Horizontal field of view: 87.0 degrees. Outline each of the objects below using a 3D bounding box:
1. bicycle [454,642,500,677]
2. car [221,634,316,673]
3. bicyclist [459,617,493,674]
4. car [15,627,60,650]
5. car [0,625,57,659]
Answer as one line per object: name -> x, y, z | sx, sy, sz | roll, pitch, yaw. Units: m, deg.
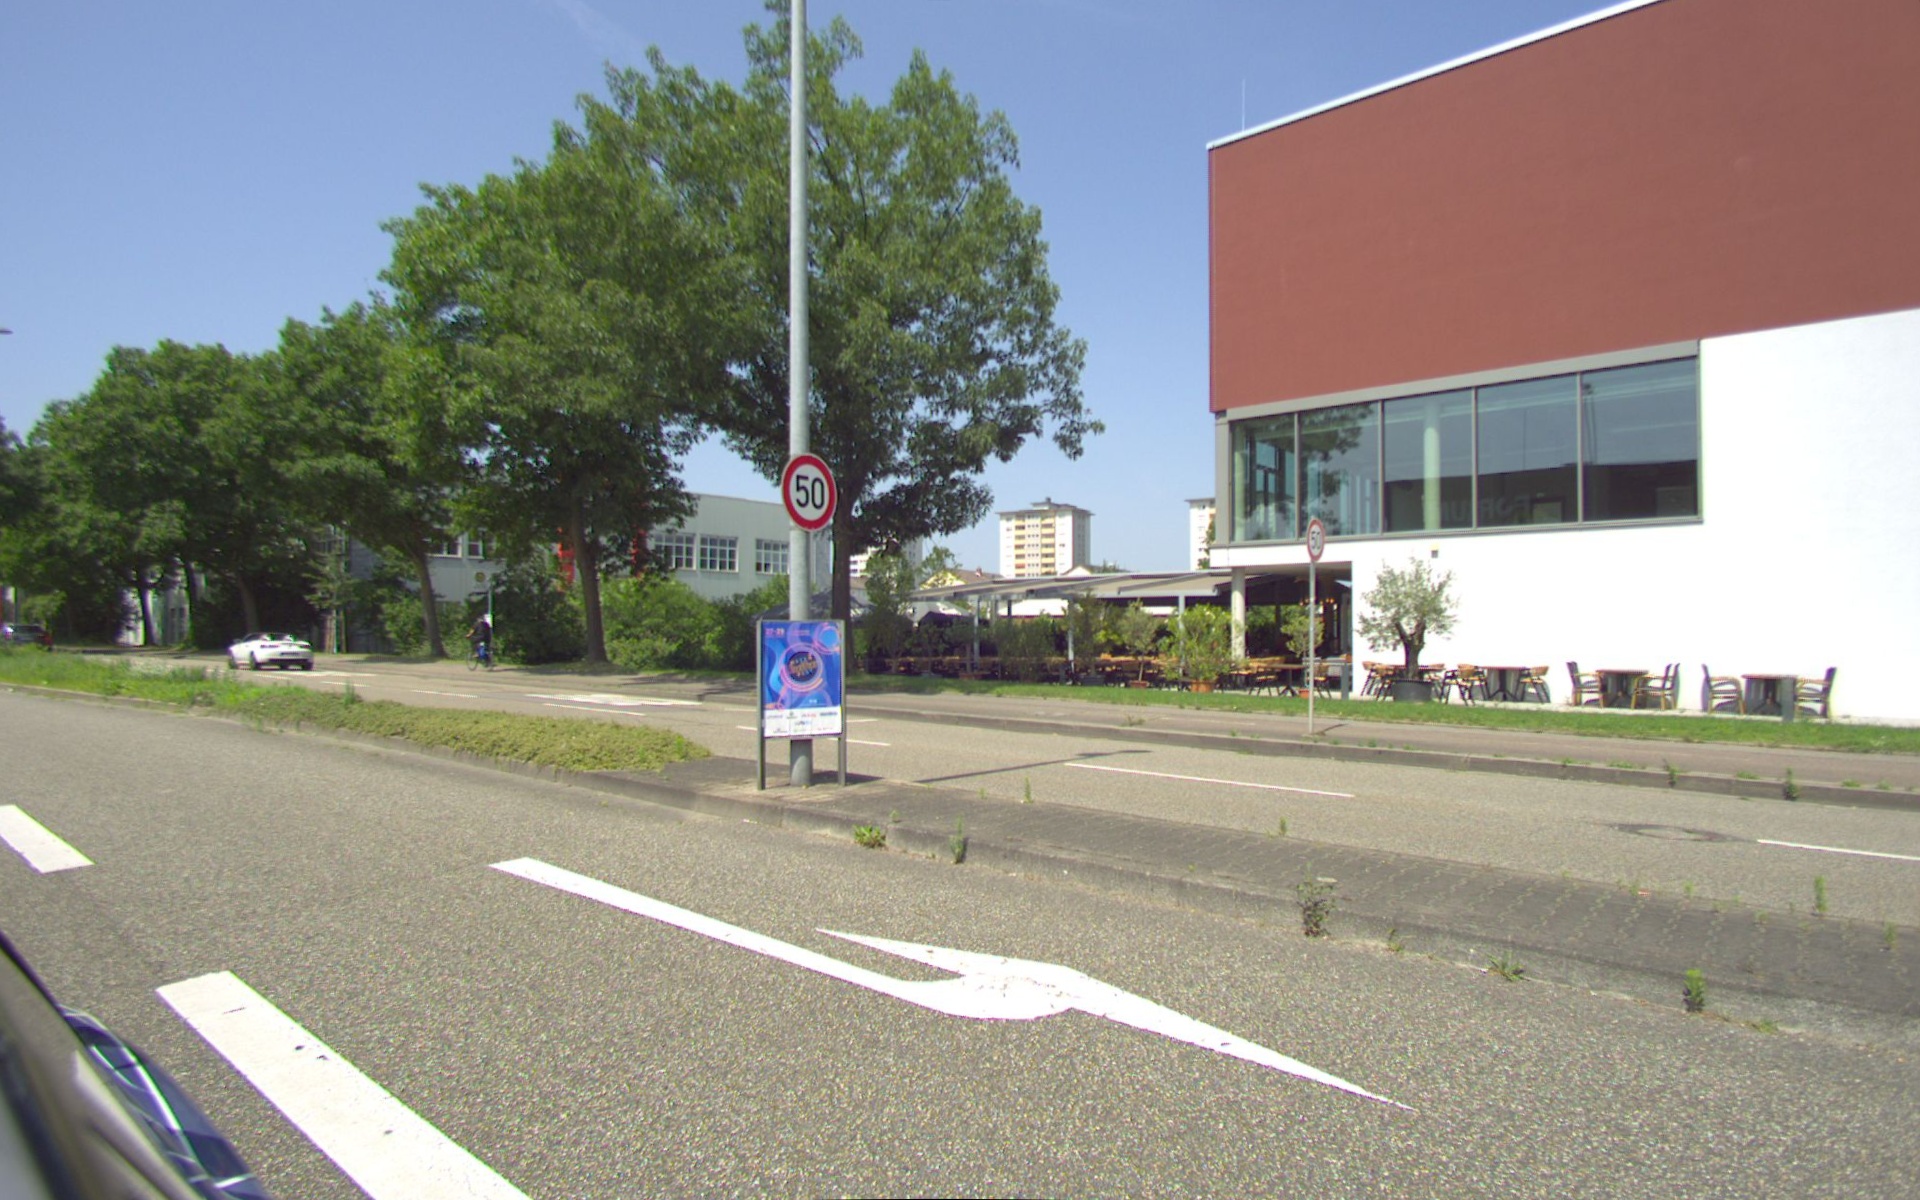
bicycle -> -15.408, 1.897, 32.273 | 1.883, 1.059, 0.648 | -1, -2, 41
car -> -24.756, 1.895, 36.189 | 4.298, 1.272, 1.700 | -1, -4, 40
bicyclist -> -15.434, 1.449, 32.287 | 0.927, 1.783, 0.643 | -2, -2, 41
car -> -61.944, 2.573, 67.950 | 3.889, 1.464, 1.688 | -2, -5, 41
car -> -48.049, 2.155, 52.102 | 3.881, 1.612, 1.670 | -1, -5, 40
